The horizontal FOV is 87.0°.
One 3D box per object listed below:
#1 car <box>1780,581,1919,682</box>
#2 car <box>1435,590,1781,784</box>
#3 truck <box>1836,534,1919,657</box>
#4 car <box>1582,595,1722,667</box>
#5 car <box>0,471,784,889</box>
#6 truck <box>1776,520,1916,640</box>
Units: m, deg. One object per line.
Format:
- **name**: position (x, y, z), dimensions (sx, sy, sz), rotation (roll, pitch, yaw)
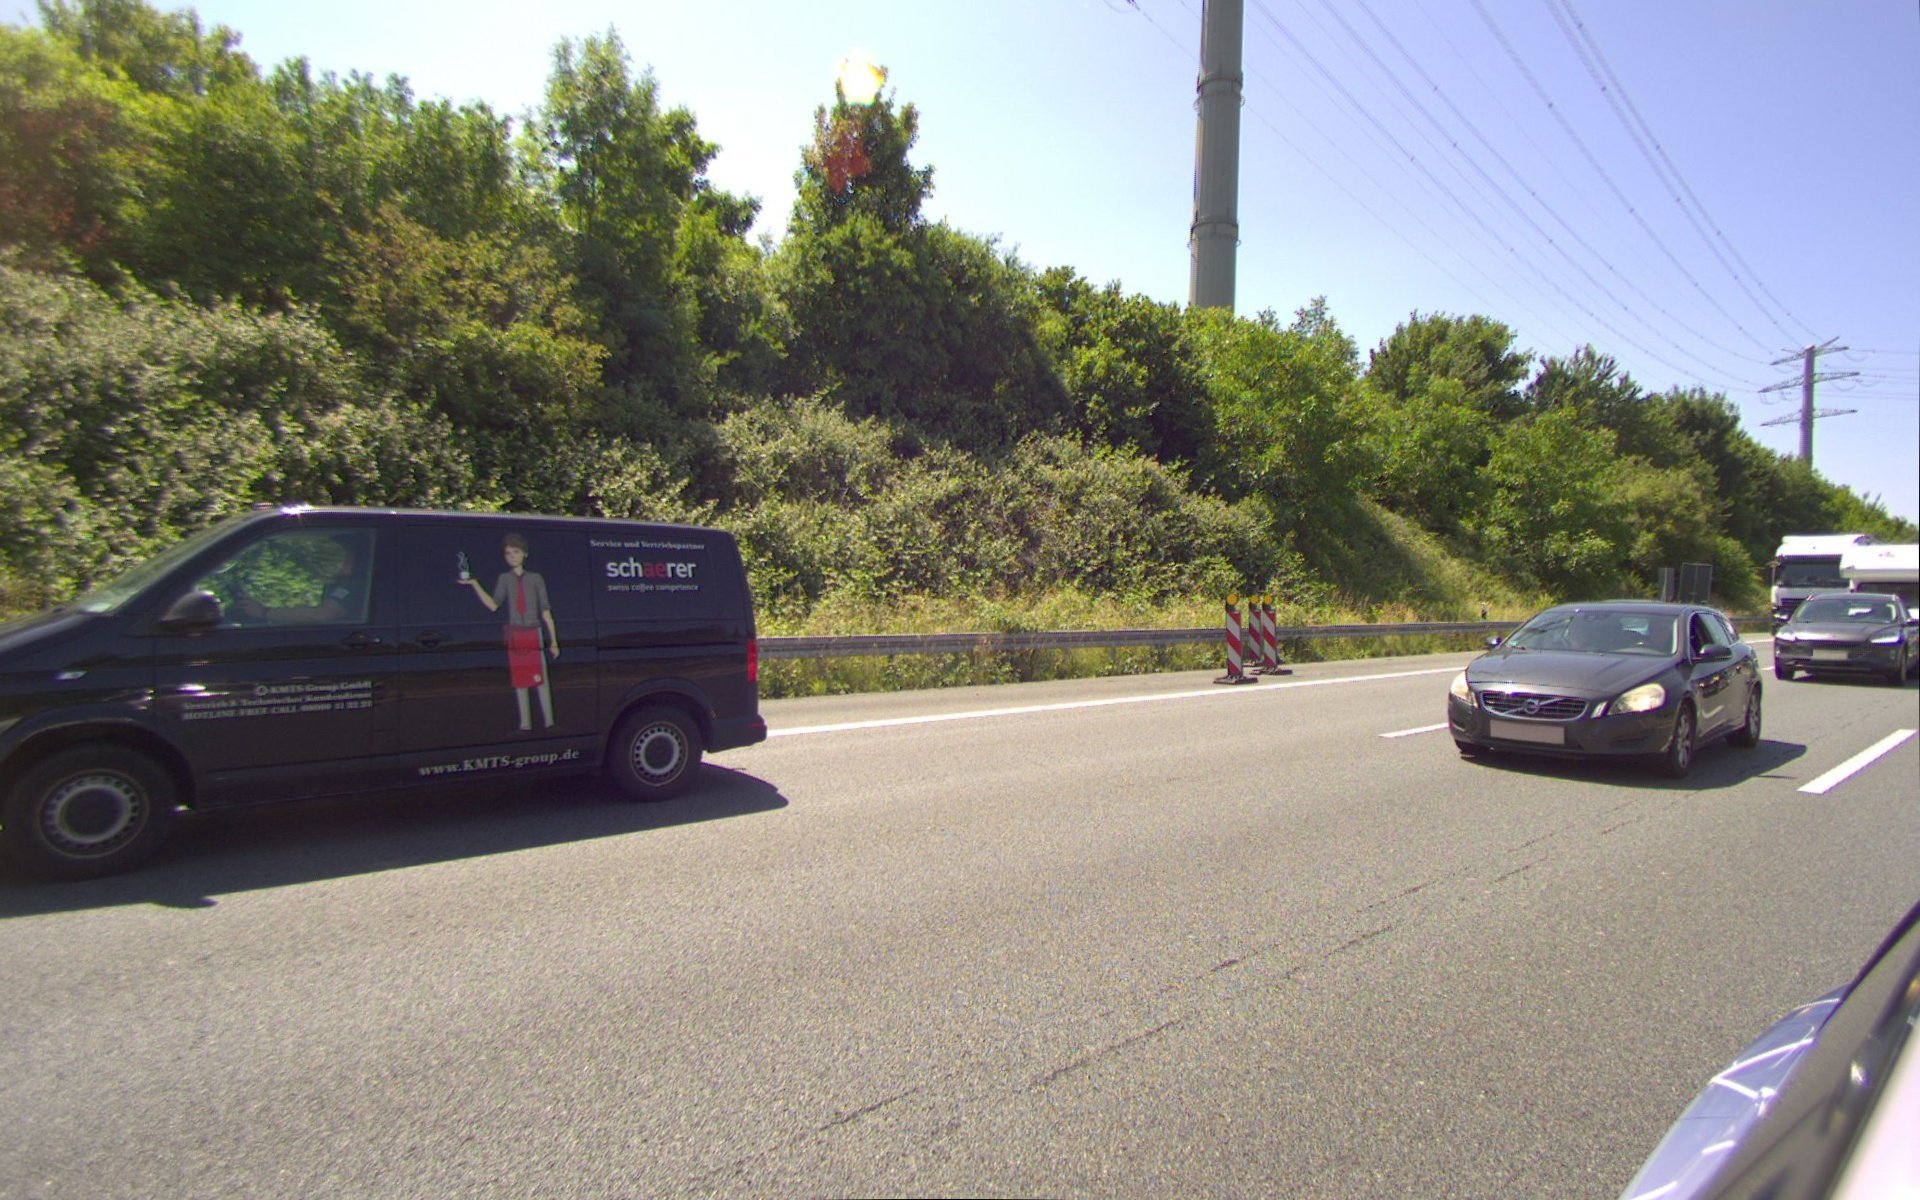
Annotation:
- **car**: position (17.341, 0.519, 19.420), dimensions (4.309, 1.724, 1.889), rotation (0, 0, -42)
- **car**: position (6.325, 0.644, 9.688), dimensions (4.159, 1.455, 1.798), rotation (0, 0, -42)
- **truck**: position (27.405, -0.128, 28.611), dimensions (9.722, 3.053, 2.513), rotation (0, 0, -40)
- **car**: position (15.387, 0.619, 22.437), dimensions (3.668, 1.455, 1.798), rotation (0, 0, -42)
- **car**: position (-3.602, 0.362, 6.612), dimensions (4.617, 1.928, 1.786), rotation (0, 0, -42)
- **truck**: position (35.367, -0.713, 40.182), dimensions (11.457, 4.204, 2.653), rotation (0, 0, -41)
